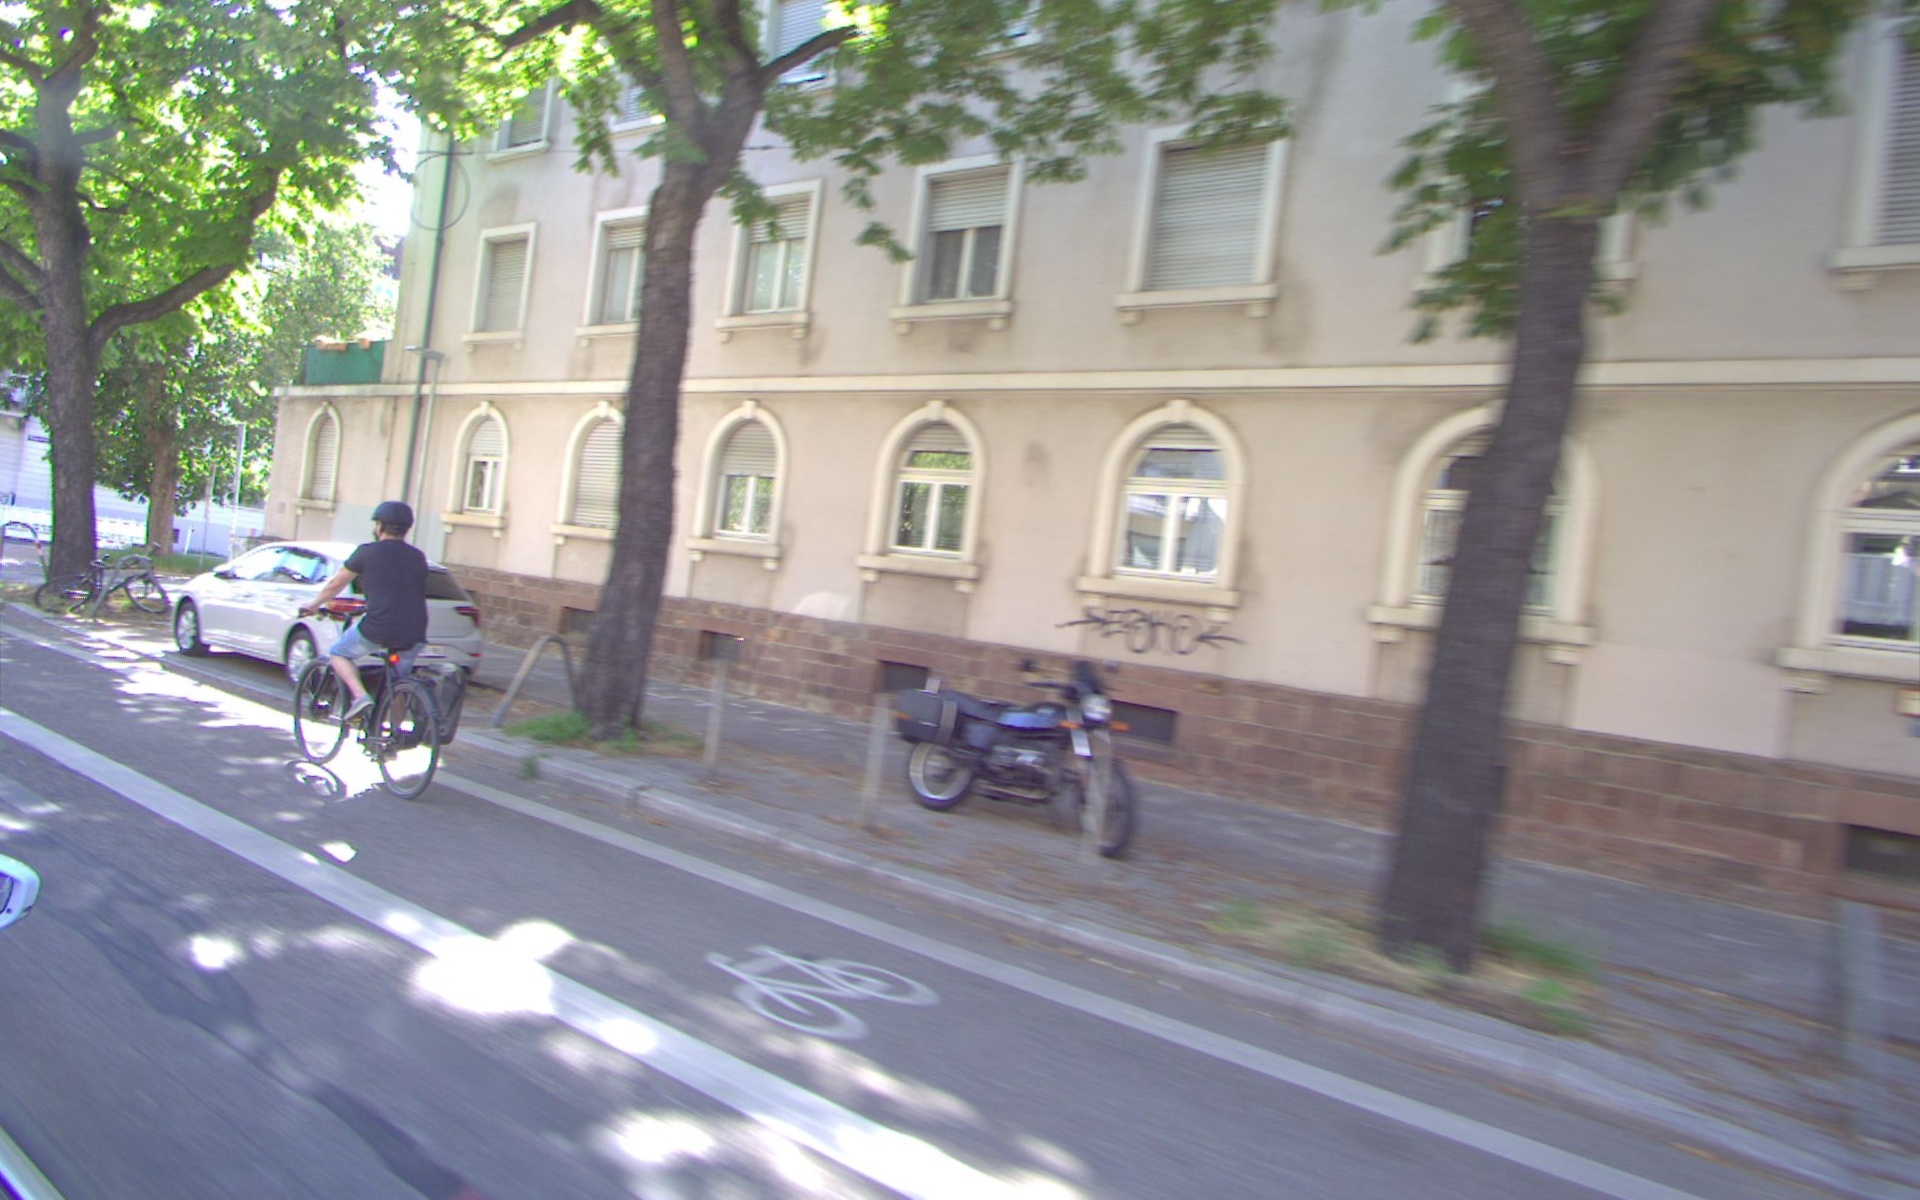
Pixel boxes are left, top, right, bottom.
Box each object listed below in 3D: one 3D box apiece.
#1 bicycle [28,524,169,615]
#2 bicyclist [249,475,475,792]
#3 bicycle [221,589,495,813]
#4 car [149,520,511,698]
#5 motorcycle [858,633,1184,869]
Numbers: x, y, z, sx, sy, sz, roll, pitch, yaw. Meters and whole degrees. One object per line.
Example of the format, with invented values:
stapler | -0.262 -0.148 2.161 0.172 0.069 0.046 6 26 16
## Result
bicycle | -11.835 -0.412 13.841 0.694 1.035 1.270 5 -4 39
bicyclist | -3.856 0.212 6.510 0.822 1.869 0.729 7 -2 31
bicycle | -3.901 0.614 6.485 1.690 1.125 0.693 7 -2 32
car | -7.077 0.072 11.220 3.933 1.437 1.751 7 0 31
motorcycle | 0.400 1.011 7.274 2.148 1.258 0.711 7 0 31
